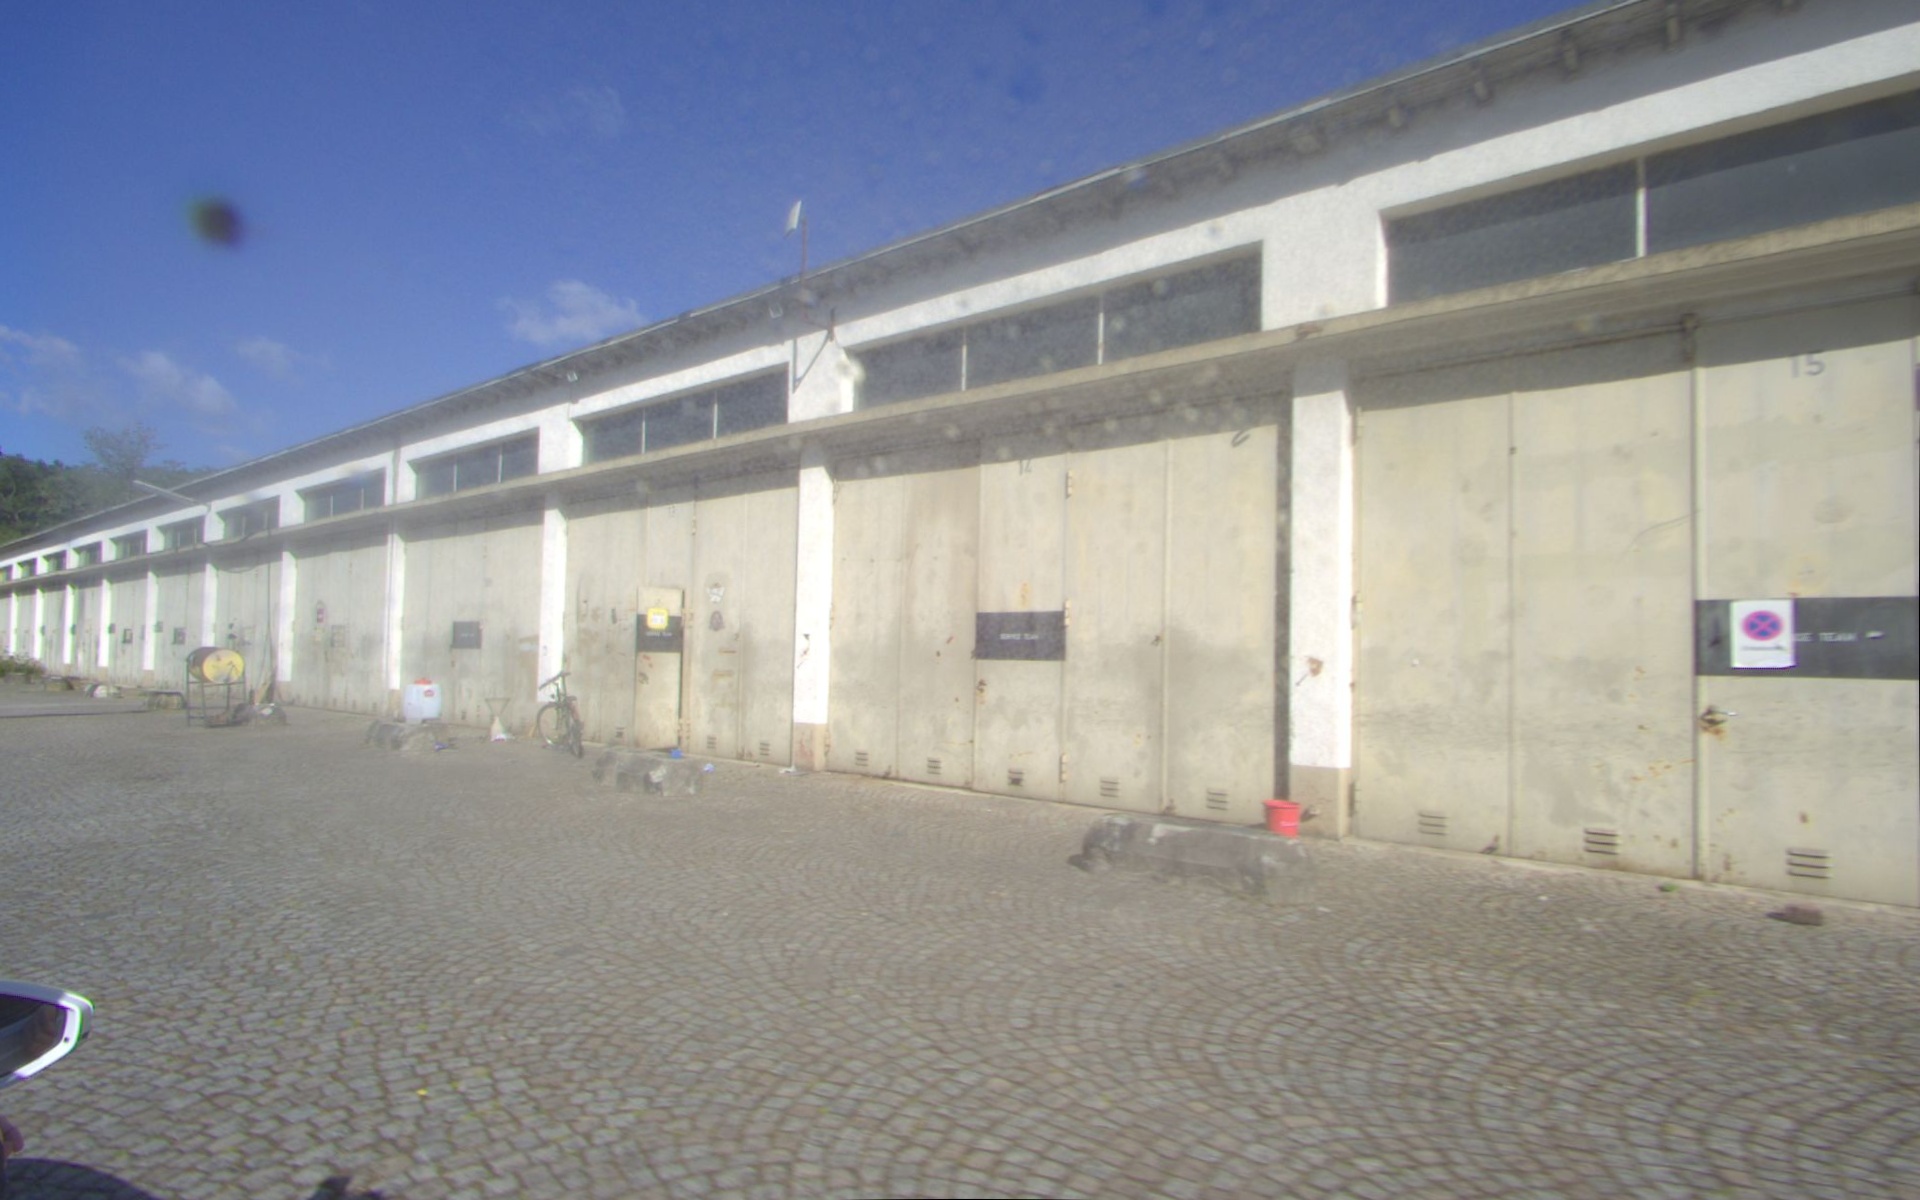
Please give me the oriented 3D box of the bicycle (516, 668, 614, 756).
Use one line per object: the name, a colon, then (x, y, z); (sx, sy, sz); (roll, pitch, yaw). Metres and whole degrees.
bicycle: (-5.309, 1.465, 13.397); (0.659, 1.080, 1.810); (5, -6, -38)
